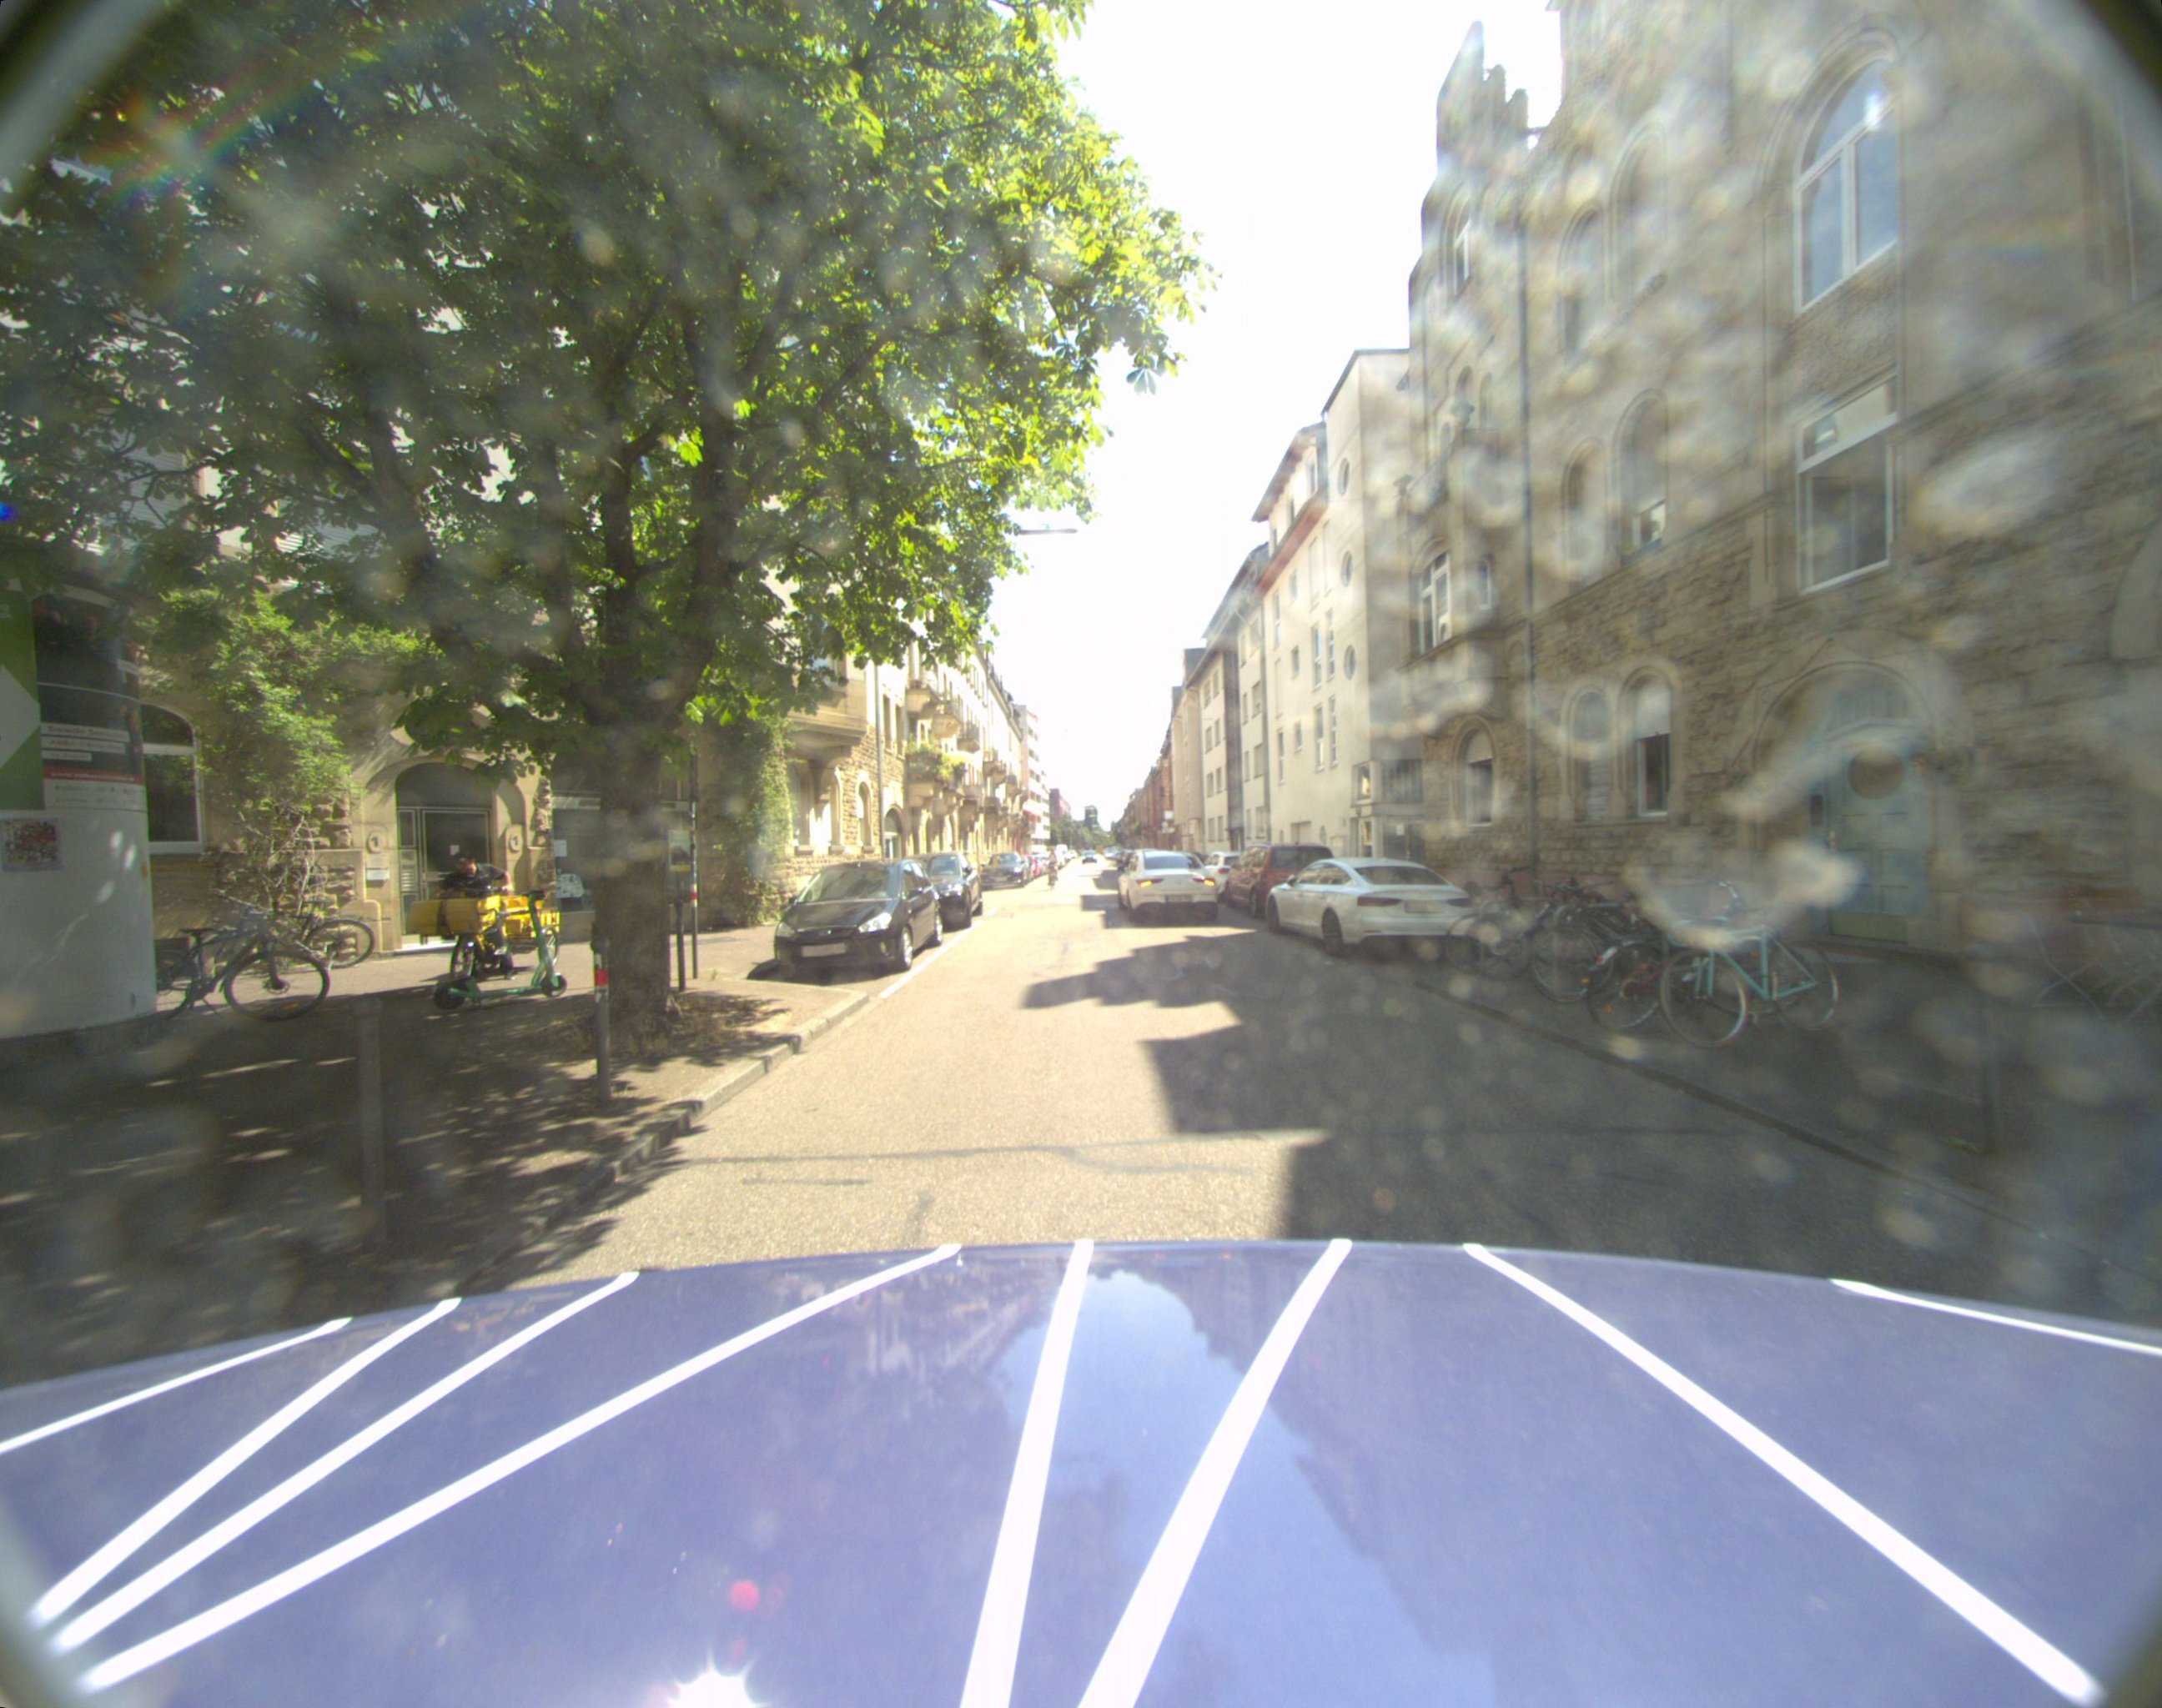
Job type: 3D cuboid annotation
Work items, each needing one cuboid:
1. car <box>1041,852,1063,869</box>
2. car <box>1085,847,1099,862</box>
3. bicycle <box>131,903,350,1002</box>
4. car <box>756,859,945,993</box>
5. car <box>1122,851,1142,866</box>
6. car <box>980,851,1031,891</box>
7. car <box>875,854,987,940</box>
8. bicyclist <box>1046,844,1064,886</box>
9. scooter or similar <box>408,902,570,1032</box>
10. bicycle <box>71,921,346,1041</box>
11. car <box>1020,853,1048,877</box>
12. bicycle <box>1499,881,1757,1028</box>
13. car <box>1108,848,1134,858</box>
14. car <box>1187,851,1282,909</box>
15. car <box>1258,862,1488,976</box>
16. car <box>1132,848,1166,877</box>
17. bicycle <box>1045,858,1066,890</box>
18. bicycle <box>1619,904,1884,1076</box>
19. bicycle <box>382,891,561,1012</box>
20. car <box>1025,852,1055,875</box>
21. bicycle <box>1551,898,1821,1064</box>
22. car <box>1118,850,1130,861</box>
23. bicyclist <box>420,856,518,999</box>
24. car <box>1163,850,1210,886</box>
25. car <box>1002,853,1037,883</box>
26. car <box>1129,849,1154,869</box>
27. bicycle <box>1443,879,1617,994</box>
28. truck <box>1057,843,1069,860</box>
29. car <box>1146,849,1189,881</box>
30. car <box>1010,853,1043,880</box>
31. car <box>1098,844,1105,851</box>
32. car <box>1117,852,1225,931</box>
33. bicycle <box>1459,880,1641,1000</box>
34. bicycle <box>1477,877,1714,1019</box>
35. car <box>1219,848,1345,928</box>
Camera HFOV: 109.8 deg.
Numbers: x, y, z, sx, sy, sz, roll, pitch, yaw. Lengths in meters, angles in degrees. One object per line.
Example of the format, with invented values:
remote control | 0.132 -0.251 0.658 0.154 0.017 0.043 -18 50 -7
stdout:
car | -2.578 0.525 68.291 1.828 1.423 4.488 -2 0 -1
car | 1.330 0.047 89.548 1.625 1.601 3.597 -1 1 1
bicycle | -10.944 1.233 9.977 0.548 1.033 1.840 0 1 33
car | -3.300 0.931 11.751 1.667 1.532 4.176 -4 1 -2
car | 4.950 0.424 74.642 1.781 1.421 3.837 3 1 2
car | -3.345 0.701 34.627 1.838 1.558 4.604 -3 1 -1
car | -3.254 0.861 17.340 1.740 1.587 4.346 -4 1 -2
bicyclist | -1.020 0.413 30.098 0.645 1.640 0.622 -1 1 2
scooter or similar | -5.976 1.098 7.717 0.442 1.130 1.187 0 1 37
bicycle | -8.391 1.204 7.356 1.905 1.033 0.634 -1 1 1
car | -3.150 0.735 51.590 1.593 1.444 3.855 -3 1 -1
bicycle | 4.807 0.864 6.708 2.001 1.123 0.436 -3 1 -4
car | 6.193 -0.141 117.079 3.996 1.422 1.678 -1 1 2
car | 4.363 0.683 22.224 1.781 1.451 4.277 1 1 -2
car | 4.256 0.855 11.958 1.706 1.345 4.513 1 1 -2
car | 4.005 0.475 45.128 1.608 1.635 3.976 1 1 0
bicycle | -1.002 0.775 30.056 0.671 1.169 2.094 -1 1 2
bicycle | 4.587 0.910 5.219 1.529 1.002 0.367 -4 1 -4
bicycle | -7.592 1.132 9.669 0.797 1.162 2.574 -1 1 -16
car | -3.019 0.676 56.796 1.720 1.444 4.597 -3 1 3
bicycle | 4.475 0.917 5.647 1.709 1.039 0.414 -4 1 -4
car | 5.658 0.200 100.318 1.450 1.391 3.526 3 1 1
bicyclist | -7.381 0.848 9.202 0.680 1.638 0.660 -1 1 -18
car | 4.691 0.603 34.260 1.571 1.483 3.893 1 1 0
car | -3.229 0.713 40.469 1.516 1.390 3.971 -4 1 -1
car | 5.055 0.421 63.964 1.633 1.540 3.852 3 1 -3
bicycle | 4.815 0.874 8.166 1.707 1.094 0.292 -3 1 -4
truck | -2.948 -0.390 125.483 1.869 2.715 4.507 -1 1 1
car | 4.456 0.522 39.766 1.660 1.510 4.670 1 1 0
car | -3.269 0.744 46.171 1.574 1.444 3.842 -3 1 1
car | 5.894 -1.832 214.559 1.784 2.002 4.000 -2 1 4
car | 1.829 0.726 16.803 1.846 1.452 4.361 1 1 0
bicycle | 4.841 0.873 7.856 1.707 1.094 0.292 -3 1 -4
bicycle | 4.830 0.864 7.166 1.977 1.123 0.395 -5 2 -4
car | 4.398 0.667 17.242 1.677 1.574 4.051 1 1 -2
